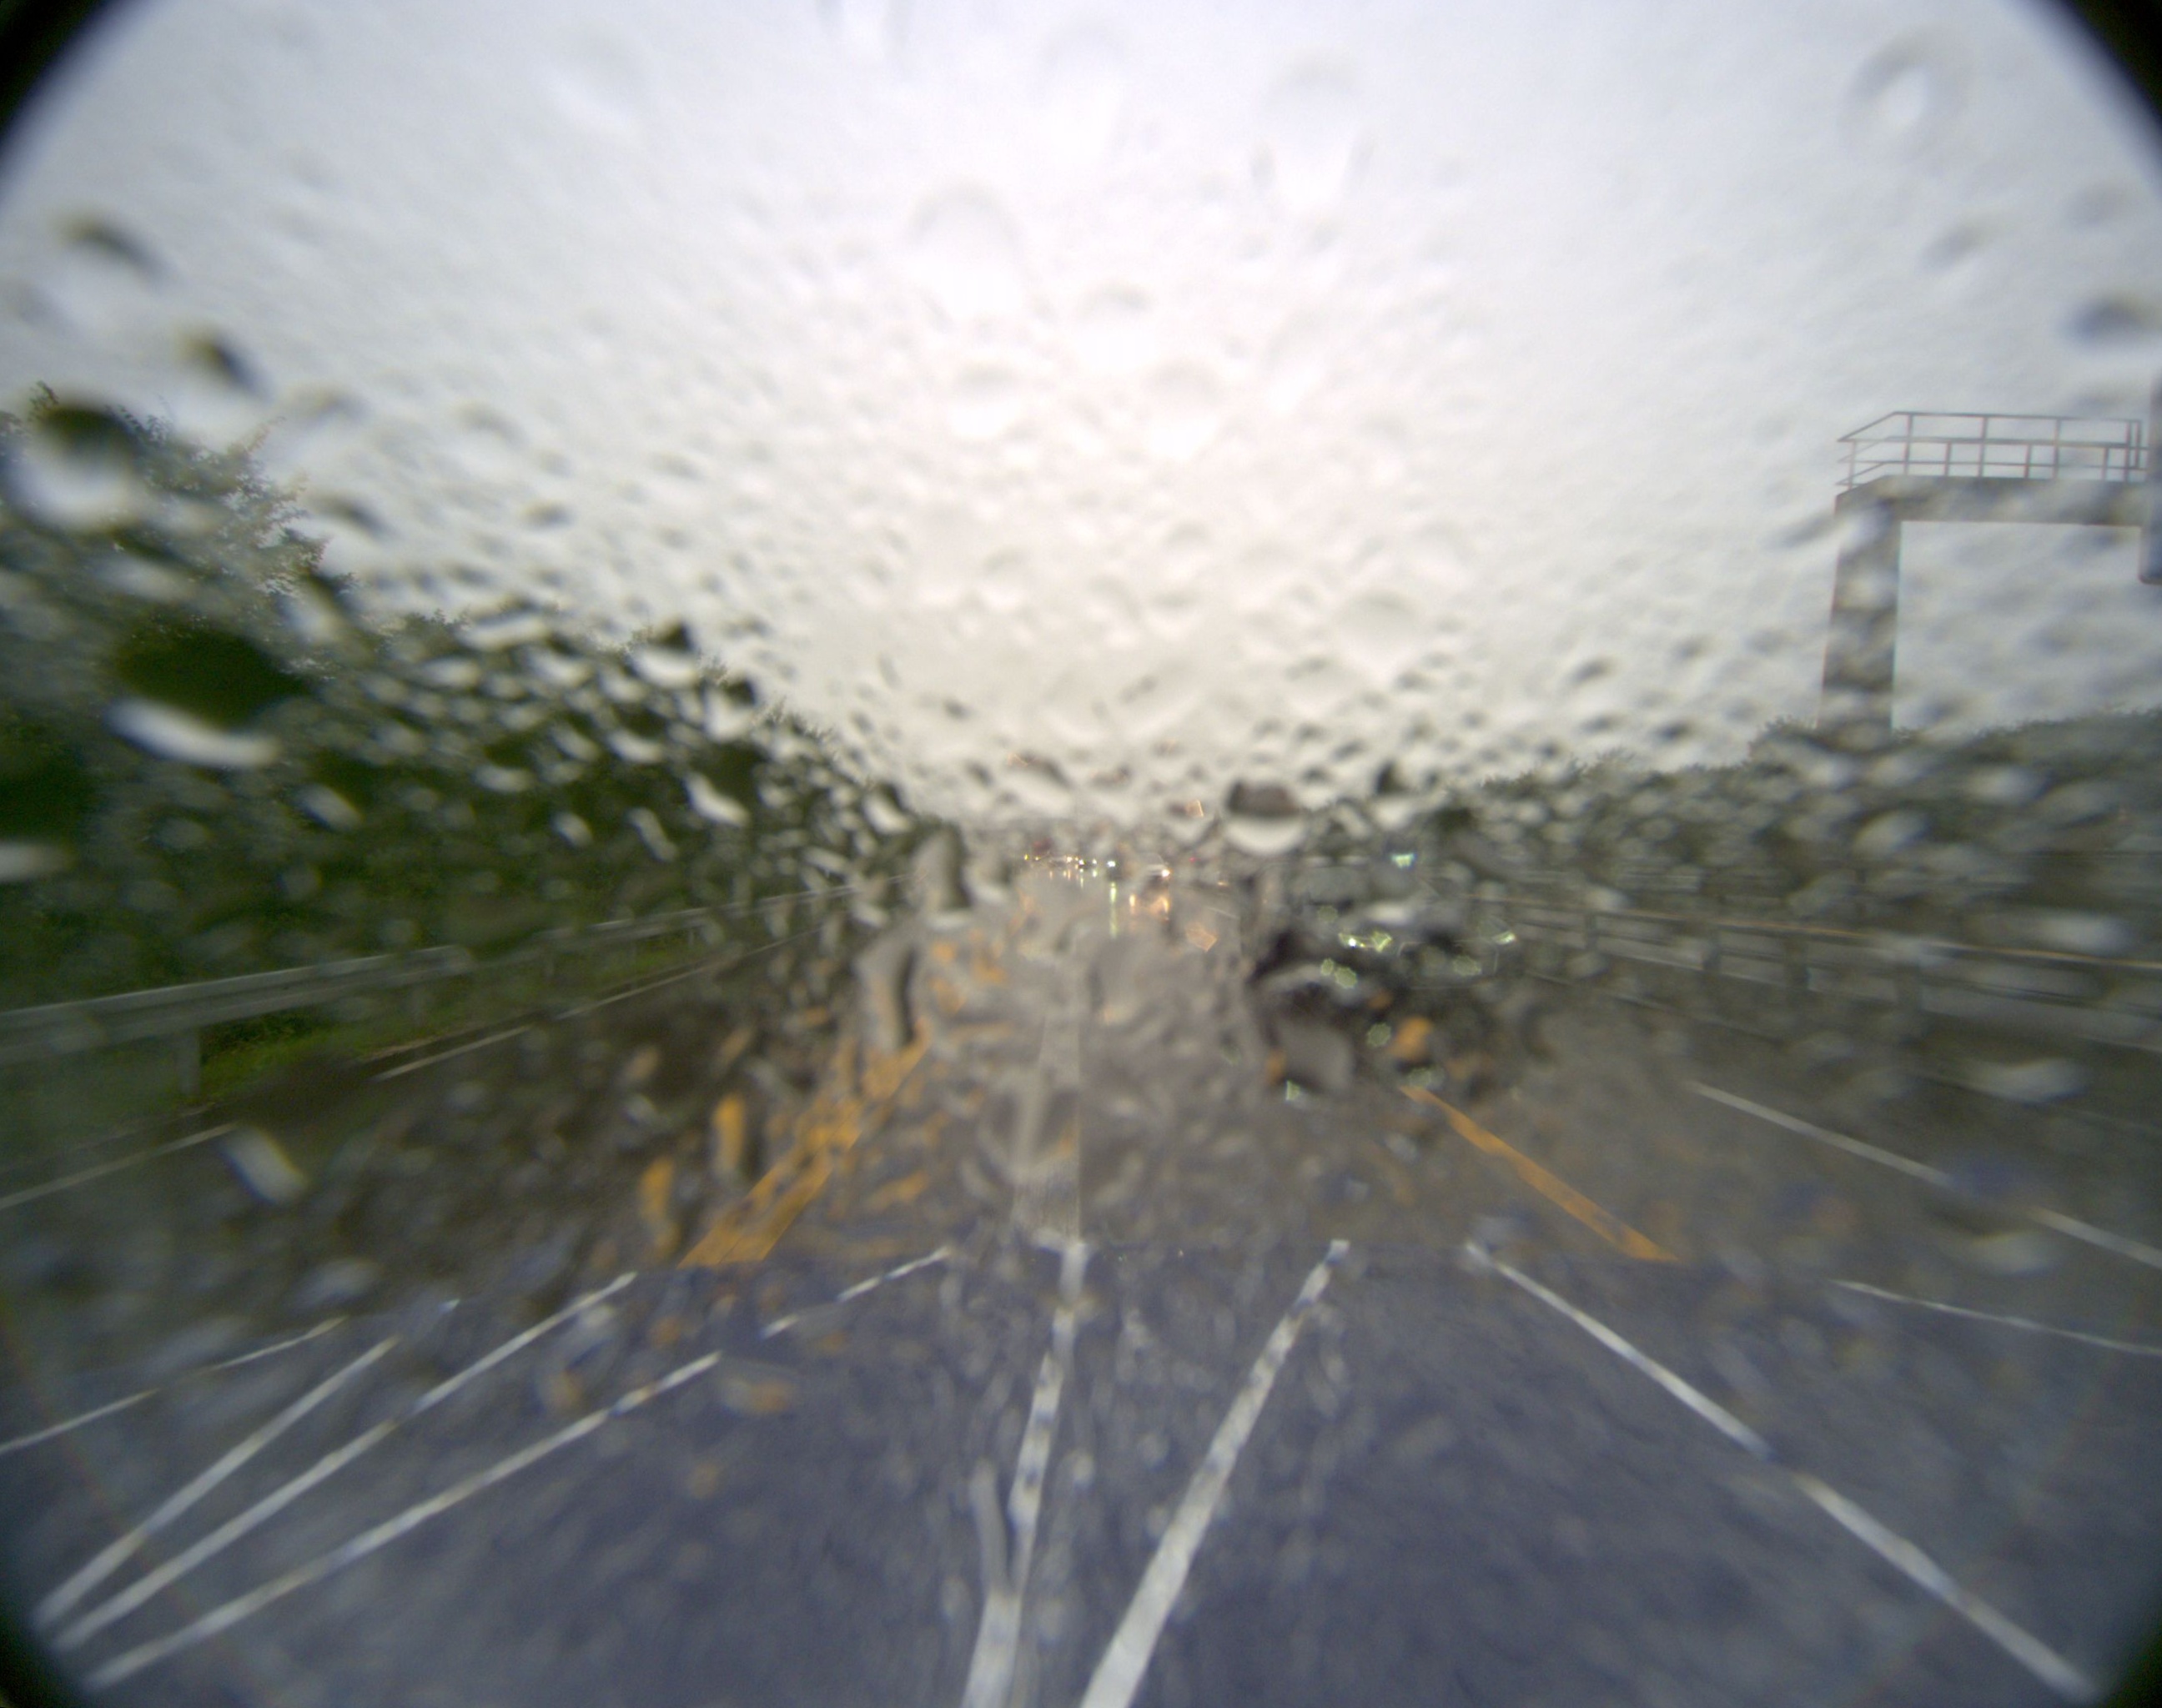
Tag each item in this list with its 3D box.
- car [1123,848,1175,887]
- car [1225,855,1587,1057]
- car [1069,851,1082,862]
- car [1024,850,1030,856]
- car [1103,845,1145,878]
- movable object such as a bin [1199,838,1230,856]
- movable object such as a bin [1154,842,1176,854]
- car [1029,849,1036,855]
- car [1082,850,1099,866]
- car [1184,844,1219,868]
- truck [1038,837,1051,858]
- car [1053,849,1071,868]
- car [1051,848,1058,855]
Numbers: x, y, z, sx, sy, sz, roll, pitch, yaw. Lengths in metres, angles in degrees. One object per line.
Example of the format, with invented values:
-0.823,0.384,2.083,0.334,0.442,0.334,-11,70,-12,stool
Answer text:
3.006,0.592,34.306,1.978,1.586,4.310,-2,-1,0,car
3.032,0.821,8.378,1.998,1.489,4.630,-2,1,0,car
-0.821,0.419,121.102,1.845,1.586,3.998,-2,1,-3,car
-16.831,-0.344,238.617,1.752,1.579,3.998,-2,1,-3,car
2.799,0.473,50.892,2.212,2.002,5.562,-2,1,-2,car
21.937,-1.203,125.087,3.775,2.782,6.328,-2,1,-2,movable object such as a bin
18.308,-1.310,166.329,3.449,2.281,5.096,-3,1,-9,movable object such as a bin
-13.310,-0.634,208.815,1.752,1.579,3.998,-2,1,-3,car
1.061,0.405,87.991,1.695,1.740,3.998,-2,1,-3,car
8.964,0.128,56.794,1.783,1.595,4.315,-2,1,-1,car
-7.514,-1.309,158.008,2.484,4.061,8.701,-2,1,-3,truck
-2.196,0.477,88.101,1.882,2.002,3.998,-2,1,-3,car
-6.583,-0.698,187.215,1.752,1.579,3.998,-2,1,-3,car
